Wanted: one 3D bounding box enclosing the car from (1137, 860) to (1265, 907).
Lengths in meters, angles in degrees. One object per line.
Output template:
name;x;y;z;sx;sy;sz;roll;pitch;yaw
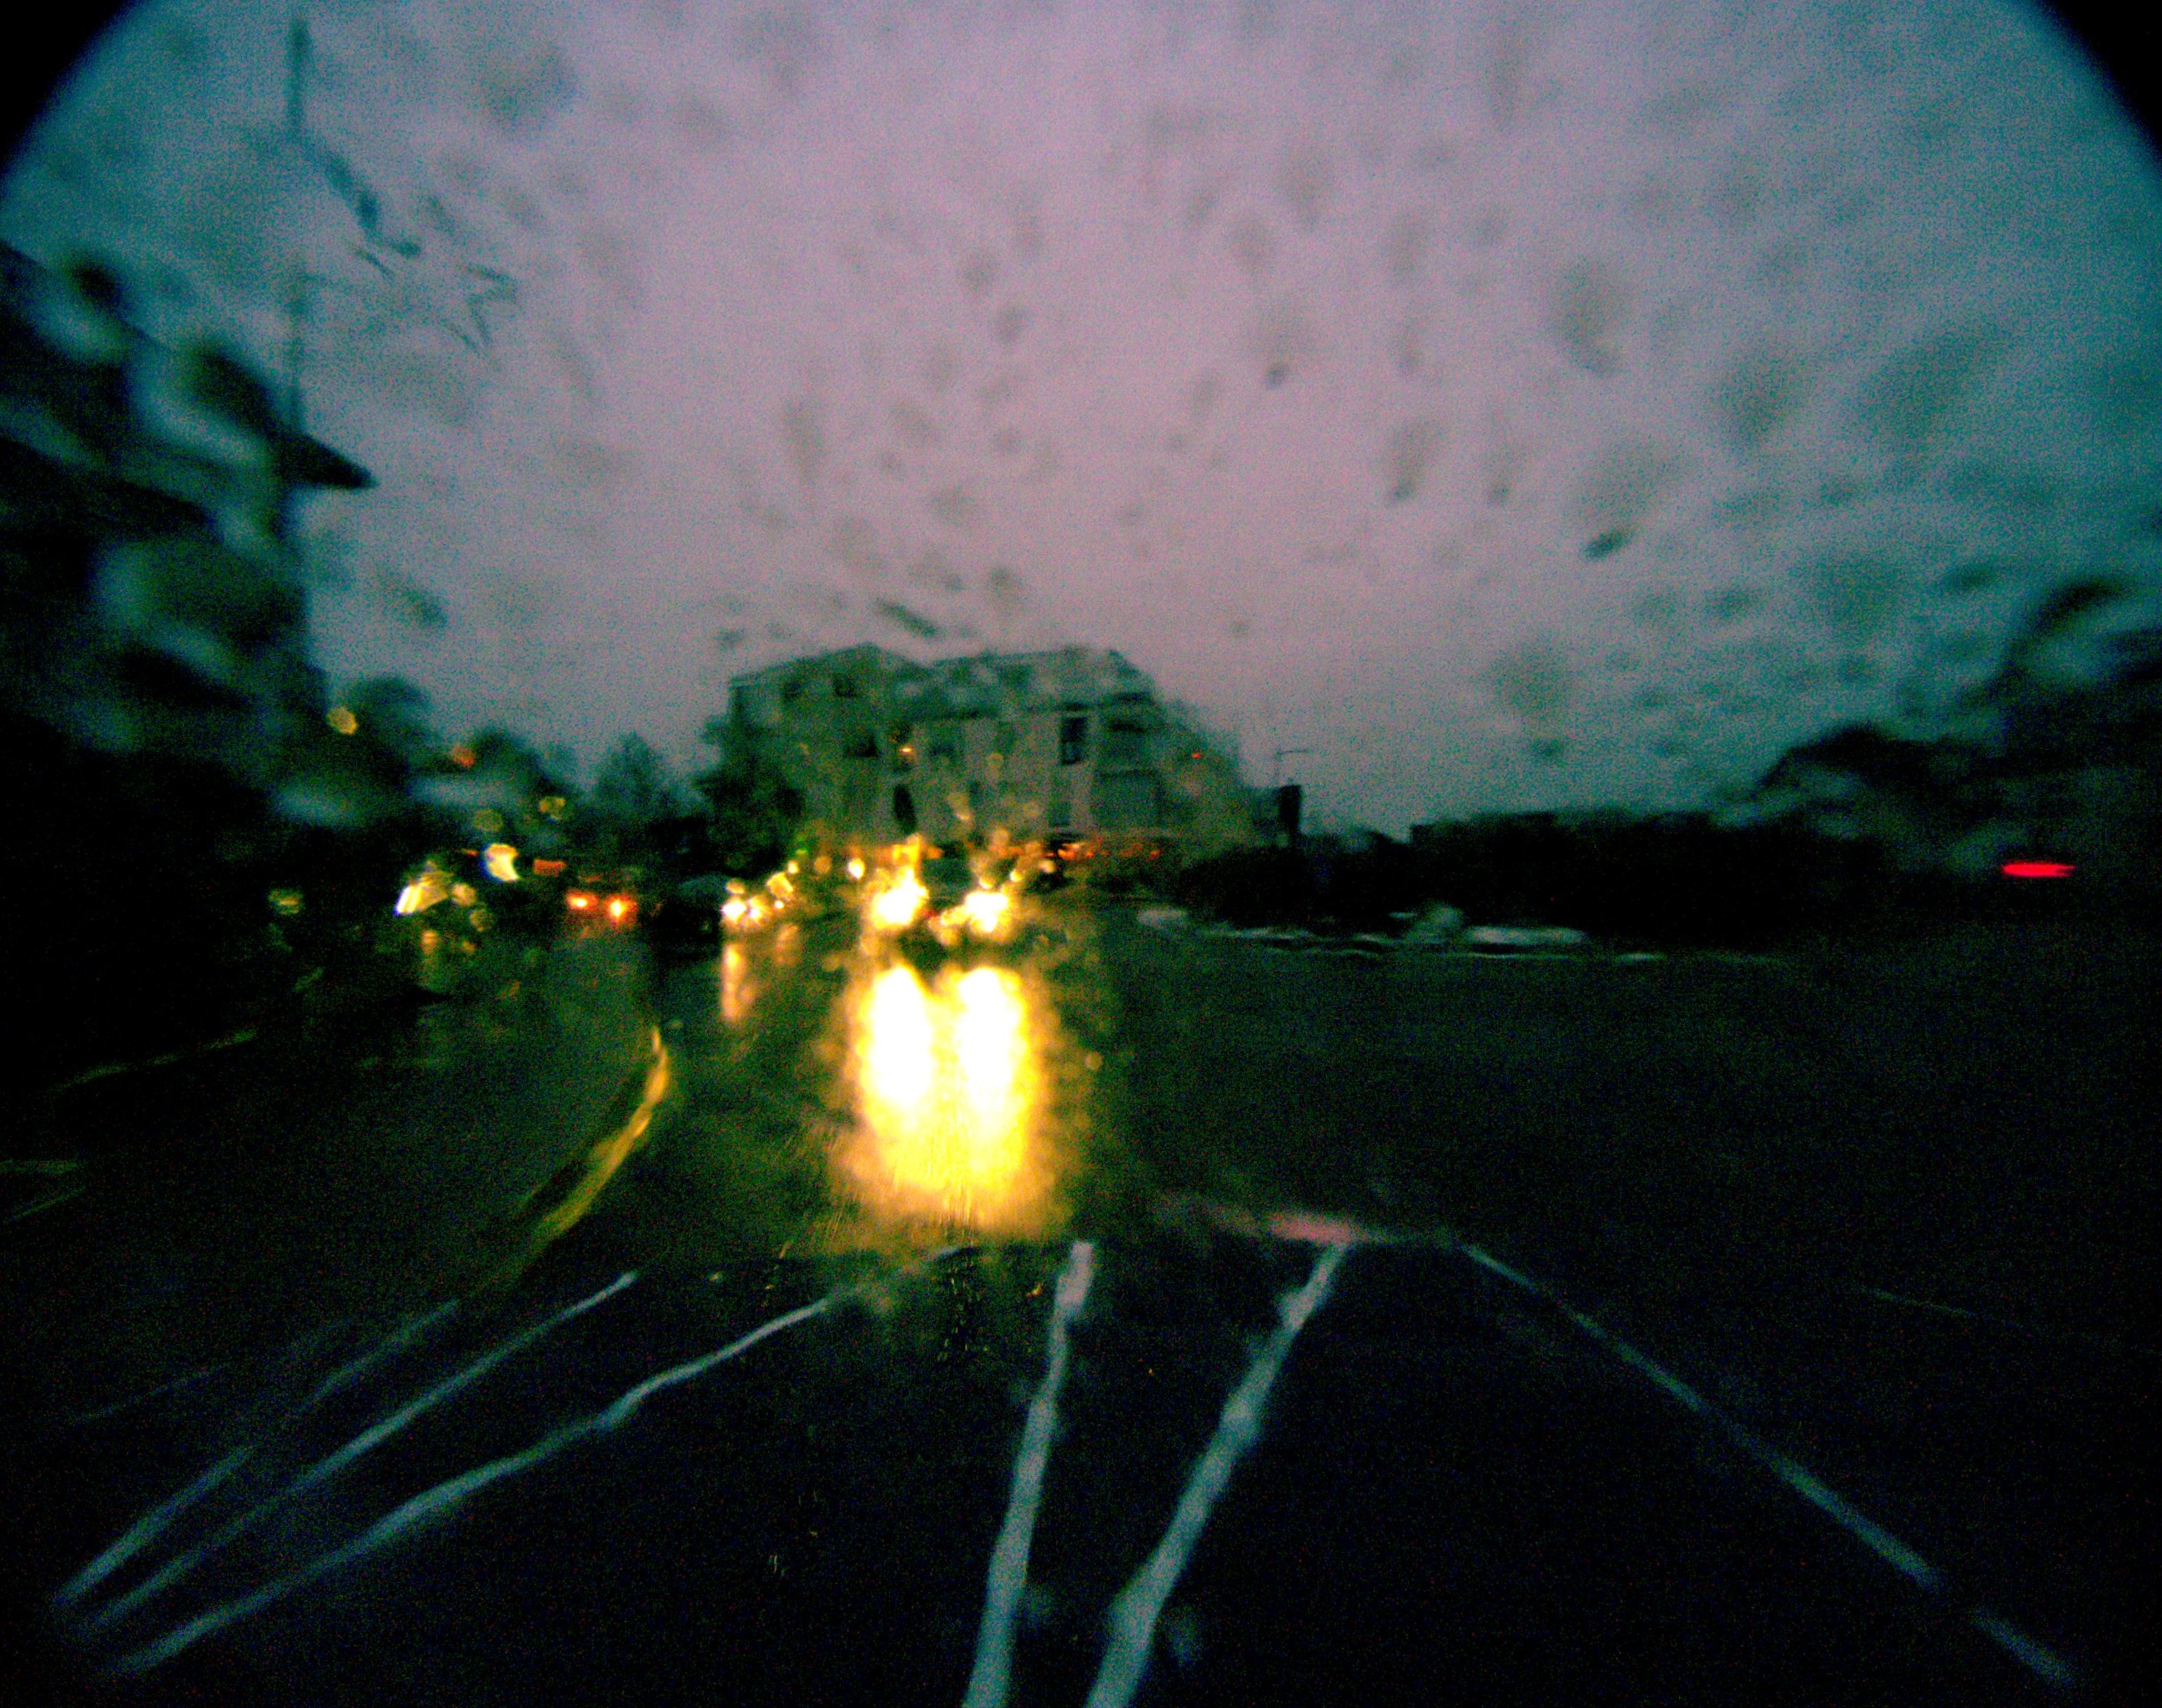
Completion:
car;4.318;1.045;27.634;4.274;1.436;1.560;-2;1;-5

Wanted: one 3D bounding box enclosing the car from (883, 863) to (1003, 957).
car;-2.609;0.988;15.294;1.958;1.575;4.108;-1;0;-5

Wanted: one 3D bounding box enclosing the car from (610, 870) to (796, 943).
car;-8.823;1.188;17.708;4.009;1.471;1.767;-2;1;27

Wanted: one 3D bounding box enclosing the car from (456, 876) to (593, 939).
car;-15.026;1.387;20.485;3.653;1.447;1.760;-1;2;34

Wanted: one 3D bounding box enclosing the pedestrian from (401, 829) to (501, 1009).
pedestrian;-6.919;0.675;8.392;0.711;1.855;0.790;-3;2;-36

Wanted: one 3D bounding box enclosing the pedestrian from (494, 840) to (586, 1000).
pedestrian;-6.335;0.728;8.912;0.769;1.751;0.790;-3;2;-36

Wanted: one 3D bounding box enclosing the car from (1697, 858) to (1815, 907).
car;31.645;1.277;35.805;1.925;2.002;3.970;-2;1;-3

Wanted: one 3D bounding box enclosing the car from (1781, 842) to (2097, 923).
car;19.593;0.561;17.657;1.872;1.590;4.527;-1;1;-25

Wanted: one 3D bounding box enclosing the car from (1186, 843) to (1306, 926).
car;3.474;0.566;16.294;2.170;1.469;4.002;-2;1;11

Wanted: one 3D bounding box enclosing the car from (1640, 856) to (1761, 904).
car;28.966;1.159;35.709;1.973;1.983;3.994;-3;1;-16

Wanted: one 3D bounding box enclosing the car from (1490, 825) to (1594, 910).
car;12.004;0.257;20.061;2.054;1.975;4.544;-1;1;28
